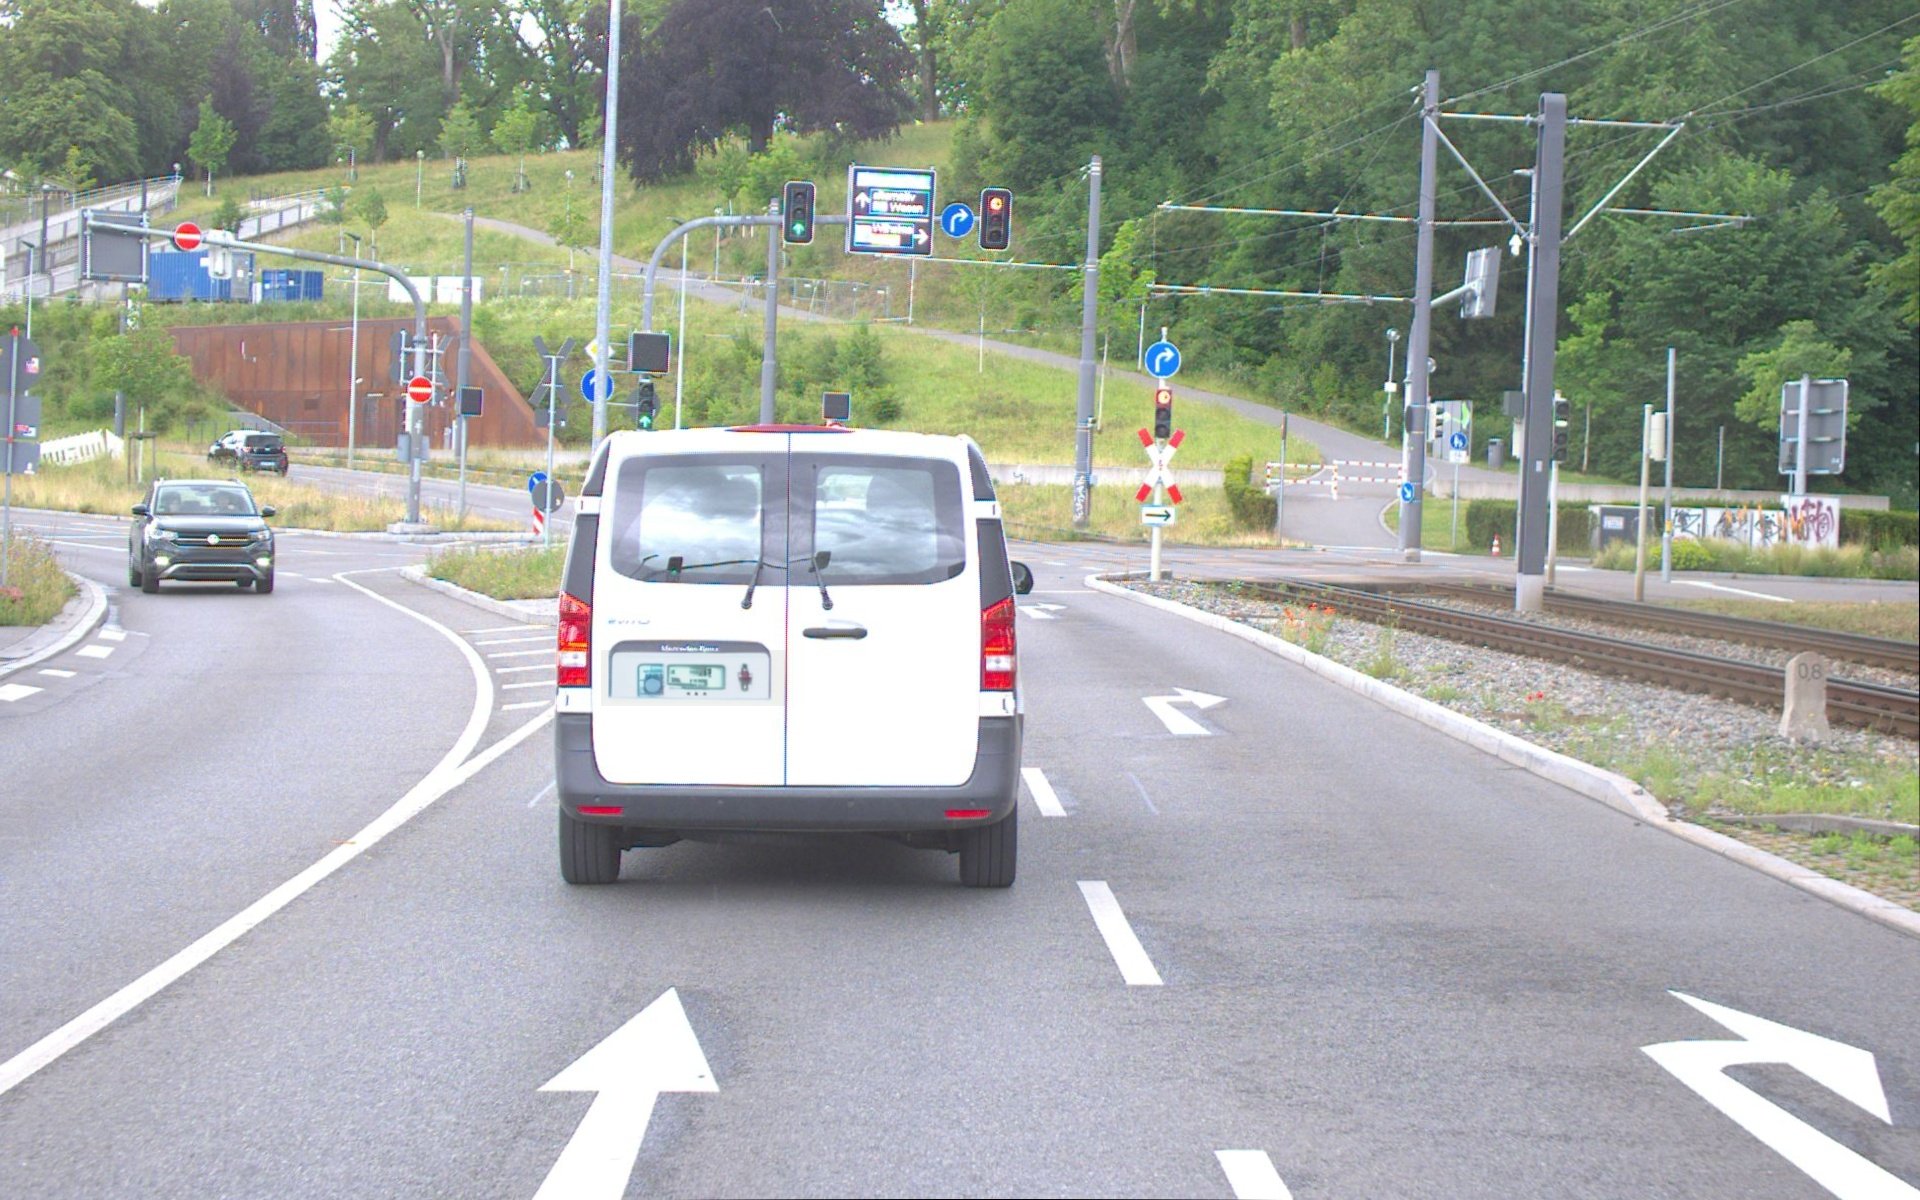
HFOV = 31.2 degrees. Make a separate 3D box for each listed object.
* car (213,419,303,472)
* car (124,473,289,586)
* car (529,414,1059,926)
[{"bbox_3d":[-23.474,-5.168,114.920,1.937,1.621,4.001,2,2,-26],"label":"car"},{"bbox_3d":[-10.546,-1.014,47.913,1.877,1.472,4.002,0,2,-18],"label":"car"},{"bbox_3d":[-0.791,0.198,15.208,1.959,1.897,4.462,1,2,-4],"label":"car"}]
